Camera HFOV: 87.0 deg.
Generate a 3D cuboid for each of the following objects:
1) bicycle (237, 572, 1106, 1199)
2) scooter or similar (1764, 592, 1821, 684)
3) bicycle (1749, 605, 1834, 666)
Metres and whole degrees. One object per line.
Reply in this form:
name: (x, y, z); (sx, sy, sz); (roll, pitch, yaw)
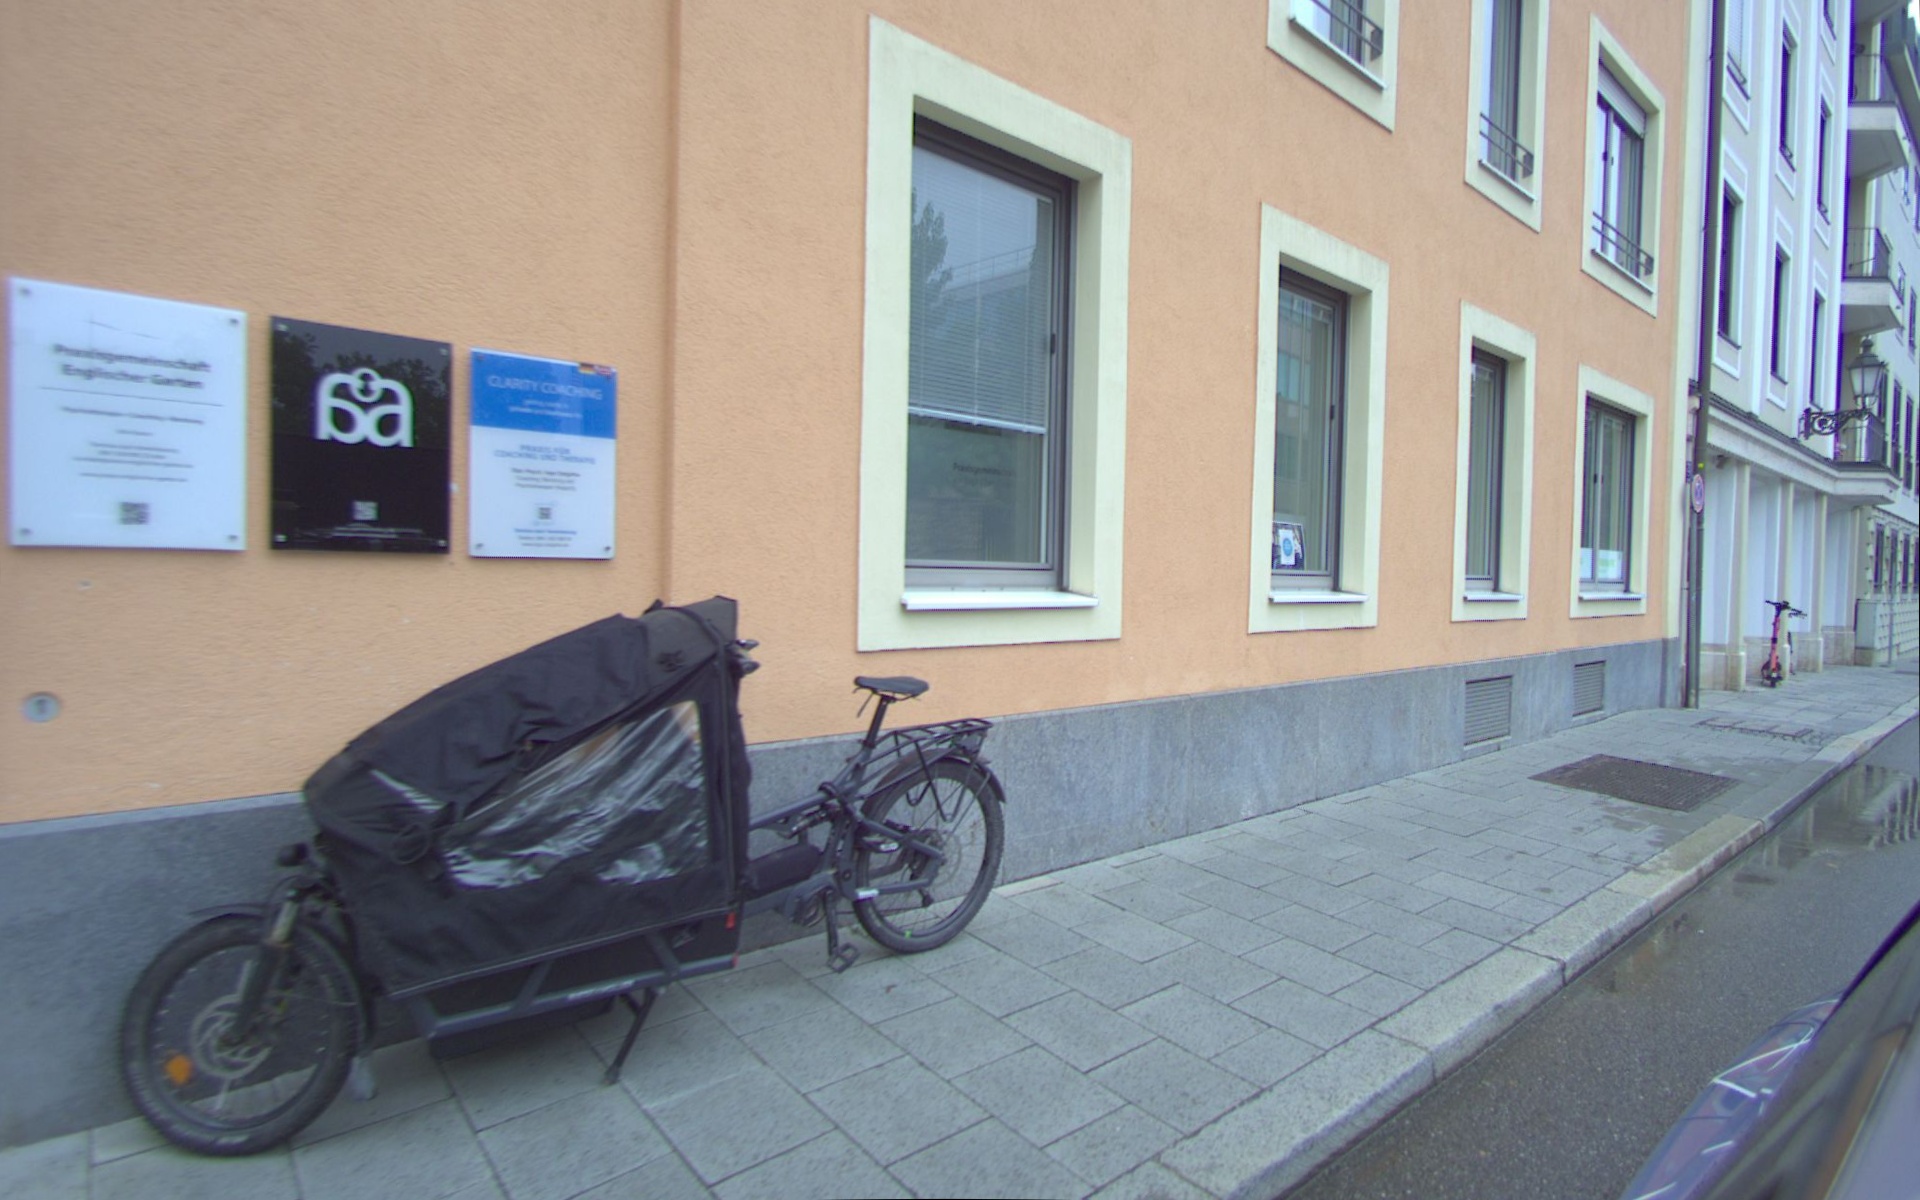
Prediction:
bicycle: (-0.658, 0.601, 2.984); (2.340, 1.254, 0.681); (1, 5, -40)
scooter or similar: (12.521, 0.540, 15.246); (0.463, 1.274, 1.261); (5, 4, 34)
bicycle: (14.613, 0.637, 17.774); (2.037, 1.006, 0.466); (2, 1, -31)
